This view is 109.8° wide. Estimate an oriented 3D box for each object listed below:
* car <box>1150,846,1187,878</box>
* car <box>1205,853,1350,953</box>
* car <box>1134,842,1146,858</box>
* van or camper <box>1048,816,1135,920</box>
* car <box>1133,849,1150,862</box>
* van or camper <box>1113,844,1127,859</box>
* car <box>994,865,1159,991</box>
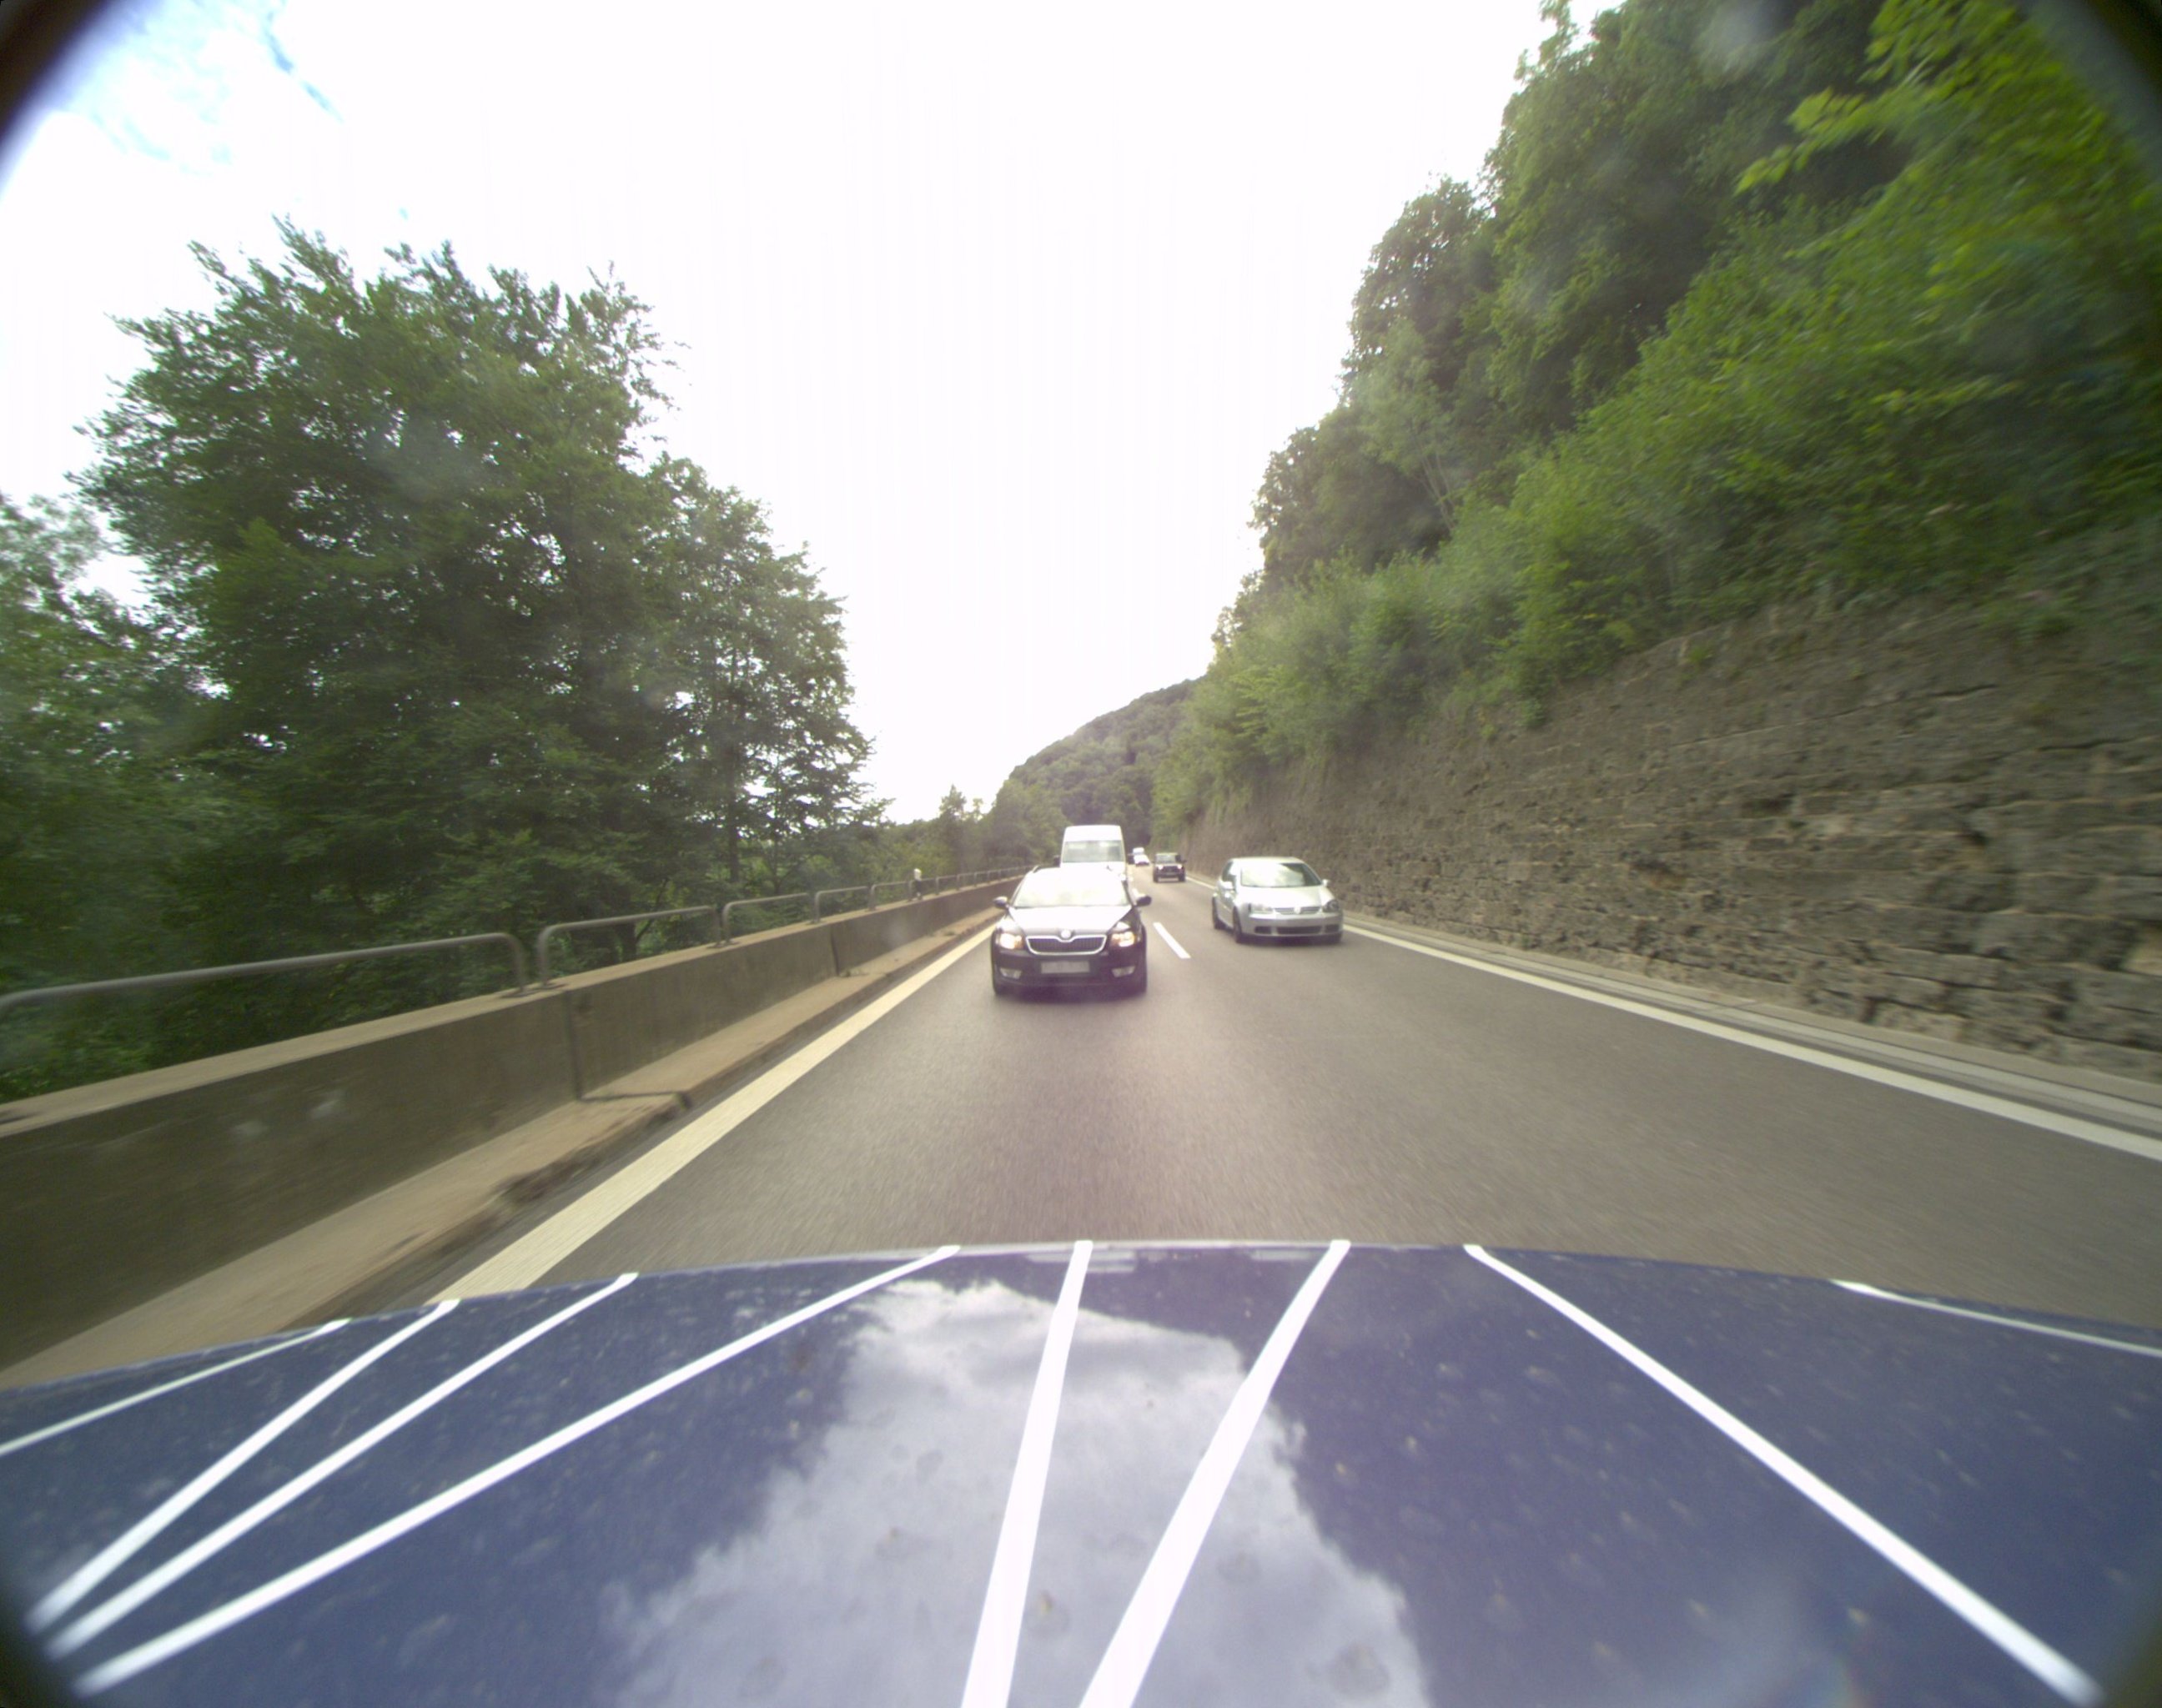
[{"bbox_3d":[4.943,0.435,43.463,1.812,1.646,4.584,-2,0,3],"label":"car"},{"bbox_3d":[3.476,0.772,14.309,1.685,1.506,4.584,-2,0,3],"label":"car"},{"bbox_3d":[10.043,-0.643,129.424,1.975,2.628,4.584,-1,0,3],"label":"car"},{"bbox_3d":[0.428,0.371,22.682,2.081,2.575,5.913,-4,0,3],"label":"van or camper"},{"bbox_3d":[7.923,0.174,100.016,1.813,1.646,4.583,-2,0,-1],"label":"car"},{"bbox_3d":[7.030,-0.416,138.665,2.270,2.527,5.911,-3,1,2],"label":"van or camper"},{"bbox_3d":[0.060,0.951,11.840,1.998,1.389,5.009,-2,0,3],"label":"car"}]
